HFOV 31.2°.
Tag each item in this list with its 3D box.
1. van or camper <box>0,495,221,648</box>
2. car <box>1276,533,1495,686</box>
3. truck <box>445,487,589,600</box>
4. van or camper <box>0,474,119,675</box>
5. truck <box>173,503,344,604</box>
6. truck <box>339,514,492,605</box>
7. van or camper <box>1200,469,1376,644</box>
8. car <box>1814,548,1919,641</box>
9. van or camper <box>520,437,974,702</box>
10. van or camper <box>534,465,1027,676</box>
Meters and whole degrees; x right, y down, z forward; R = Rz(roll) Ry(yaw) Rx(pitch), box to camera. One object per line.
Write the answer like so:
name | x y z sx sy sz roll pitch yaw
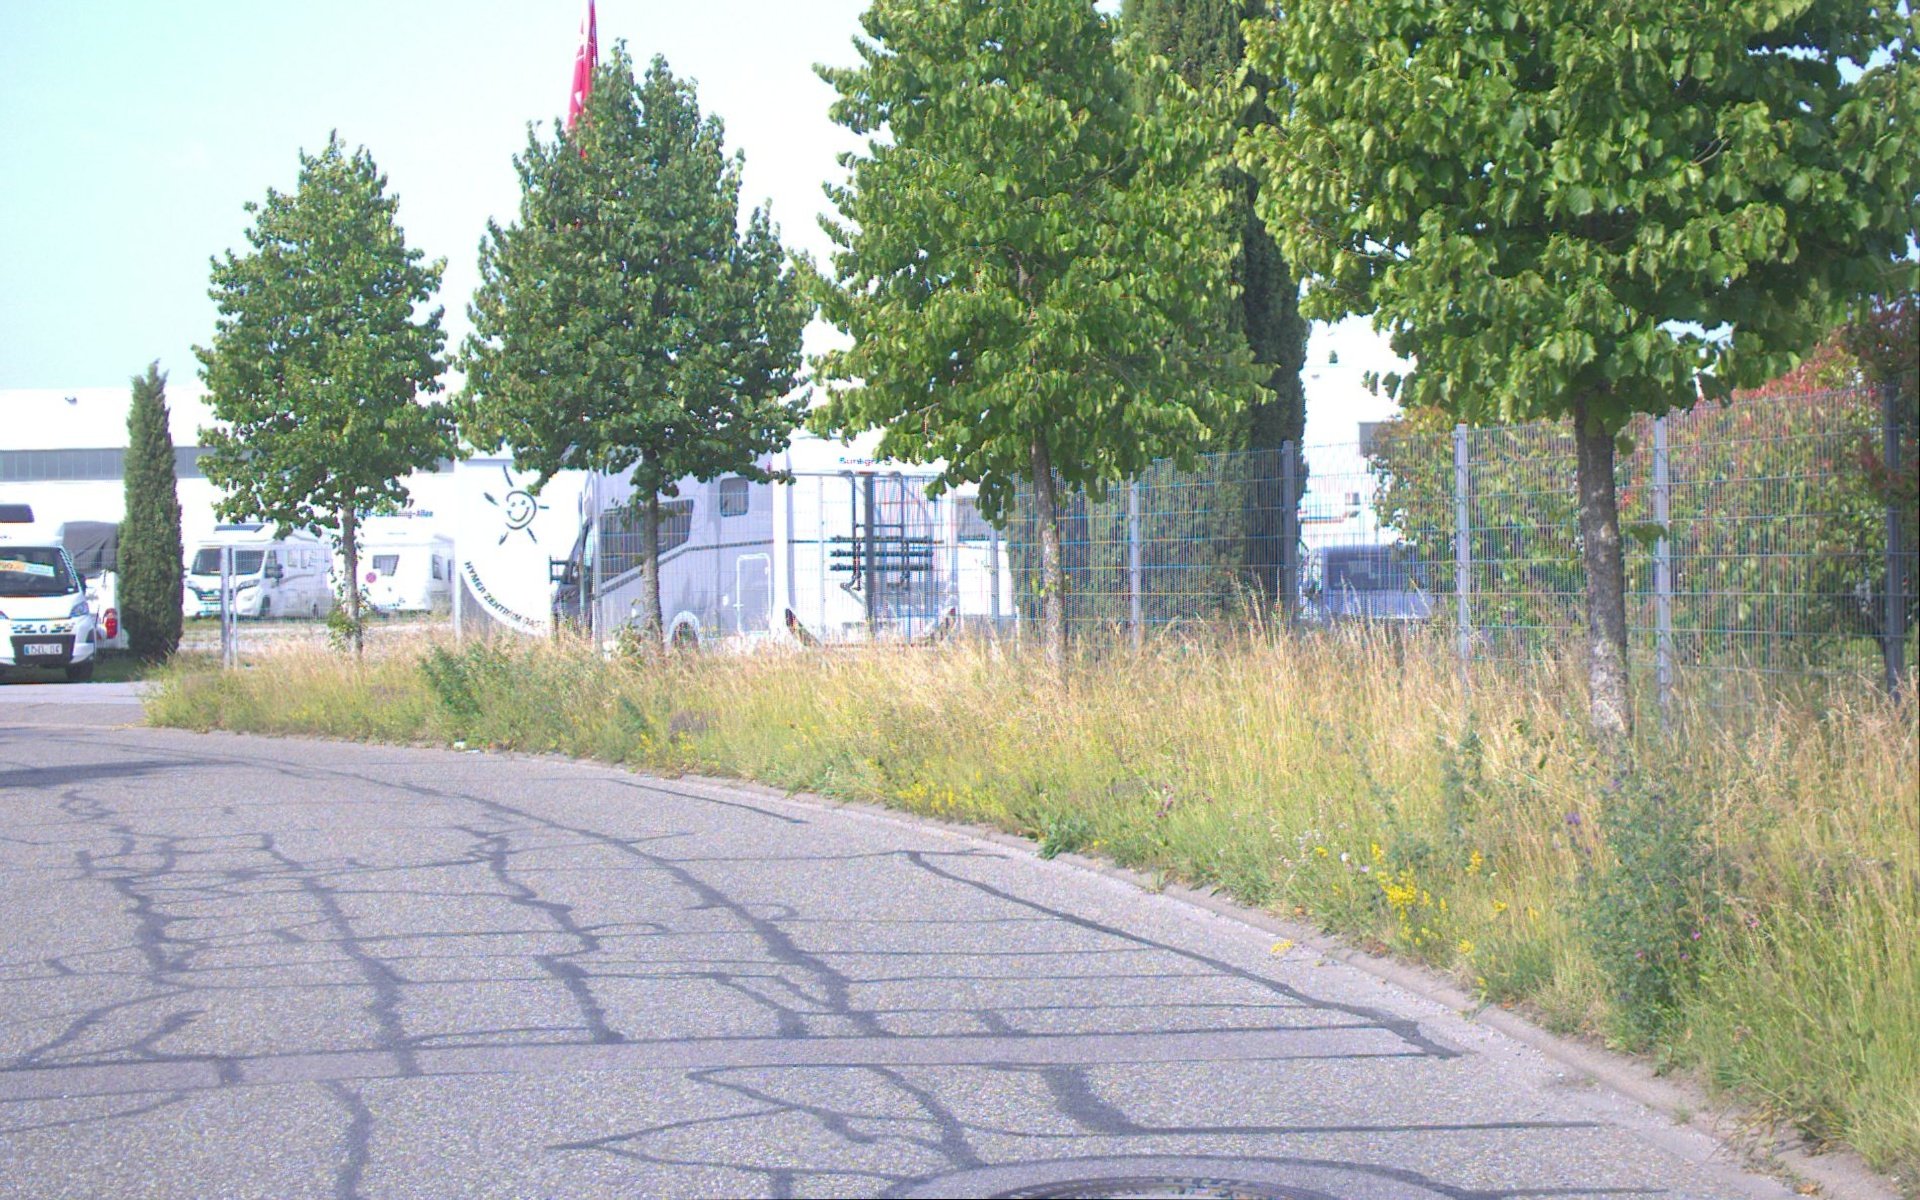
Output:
van or camper | -15.189 -0.562 61.147 2.483 2.550 6.626 0 1 1
car | 4.782 0.067 39.116 1.722 1.637 4.001 1 1 -4
truck | -11.623 -1.498 90.831 2.450 2.816 8.002 -1 1 2
van or camper | -15.524 -0.414 53.269 2.331 2.933 6.970 -1 1 -36
truck | -17.940 -1.210 88.428 2.450 2.462 8.002 -1 1 2
truck | -14.323 -1.103 90.975 2.450 2.257 8.002 -1 1 2
van or camper | 5.626 -0.725 59.847 2.320 2.854 6.610 -1 0 -1
car | 14.677 -0.091 53.002 1.710 1.375 4.001 1 1 -5
van or camper | -2.687 -0.363 40.582 2.349 2.838 7.342 -1 1 -29
van or camper | -2.735 -0.457 52.194 7.257 3.021 2.586 -1 1 -4
